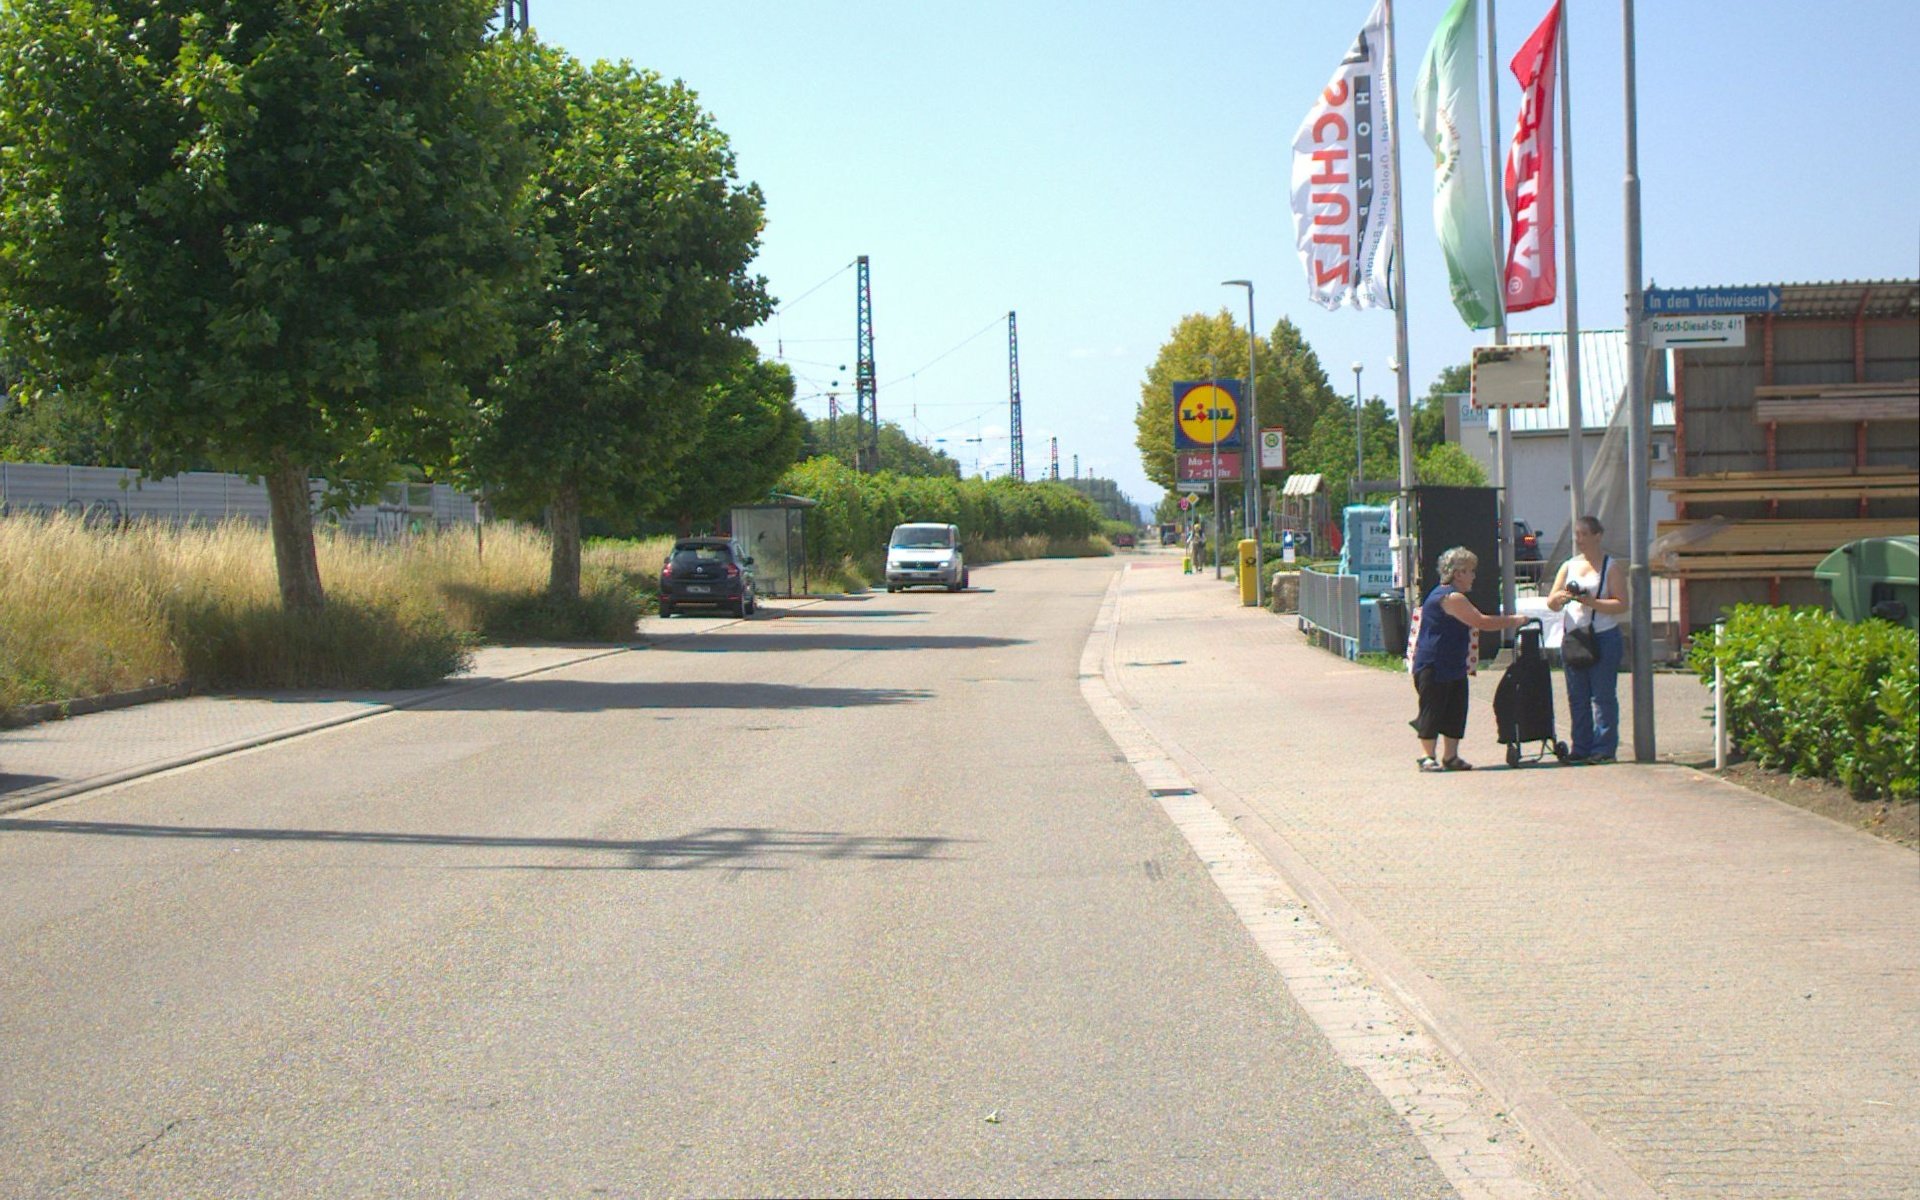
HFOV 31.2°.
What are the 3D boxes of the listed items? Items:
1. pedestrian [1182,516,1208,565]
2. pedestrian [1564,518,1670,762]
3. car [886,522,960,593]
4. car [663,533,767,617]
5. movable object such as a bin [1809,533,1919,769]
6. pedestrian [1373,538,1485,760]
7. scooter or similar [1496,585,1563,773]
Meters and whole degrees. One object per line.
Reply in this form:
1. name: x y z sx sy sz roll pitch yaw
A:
1. pedestrian: 7.750 -1.971 113.318 0.761 1.596 1.210 -1 1 0
2. pedestrian: 4.208 0.256 22.045 0.535 1.534 0.511 -2 -1 0
3. car: -0.976 -1.162 93.373 1.838 1.852 4.484 -1 1 2
4. car: -4.816 -0.523 67.923 1.741 1.590 3.579 -1 1 1
5. movable object such as a bin: 6.225 0.304 21.811 1.263 1.453 1.049 0 1 -36
6. pedestrian: 3.028 0.317 22.235 0.594 1.400 0.584 -2 -1 0
7. scooter or similar: 3.669 0.508 22.163 0.334 1.194 0.397 -2 -1 2
